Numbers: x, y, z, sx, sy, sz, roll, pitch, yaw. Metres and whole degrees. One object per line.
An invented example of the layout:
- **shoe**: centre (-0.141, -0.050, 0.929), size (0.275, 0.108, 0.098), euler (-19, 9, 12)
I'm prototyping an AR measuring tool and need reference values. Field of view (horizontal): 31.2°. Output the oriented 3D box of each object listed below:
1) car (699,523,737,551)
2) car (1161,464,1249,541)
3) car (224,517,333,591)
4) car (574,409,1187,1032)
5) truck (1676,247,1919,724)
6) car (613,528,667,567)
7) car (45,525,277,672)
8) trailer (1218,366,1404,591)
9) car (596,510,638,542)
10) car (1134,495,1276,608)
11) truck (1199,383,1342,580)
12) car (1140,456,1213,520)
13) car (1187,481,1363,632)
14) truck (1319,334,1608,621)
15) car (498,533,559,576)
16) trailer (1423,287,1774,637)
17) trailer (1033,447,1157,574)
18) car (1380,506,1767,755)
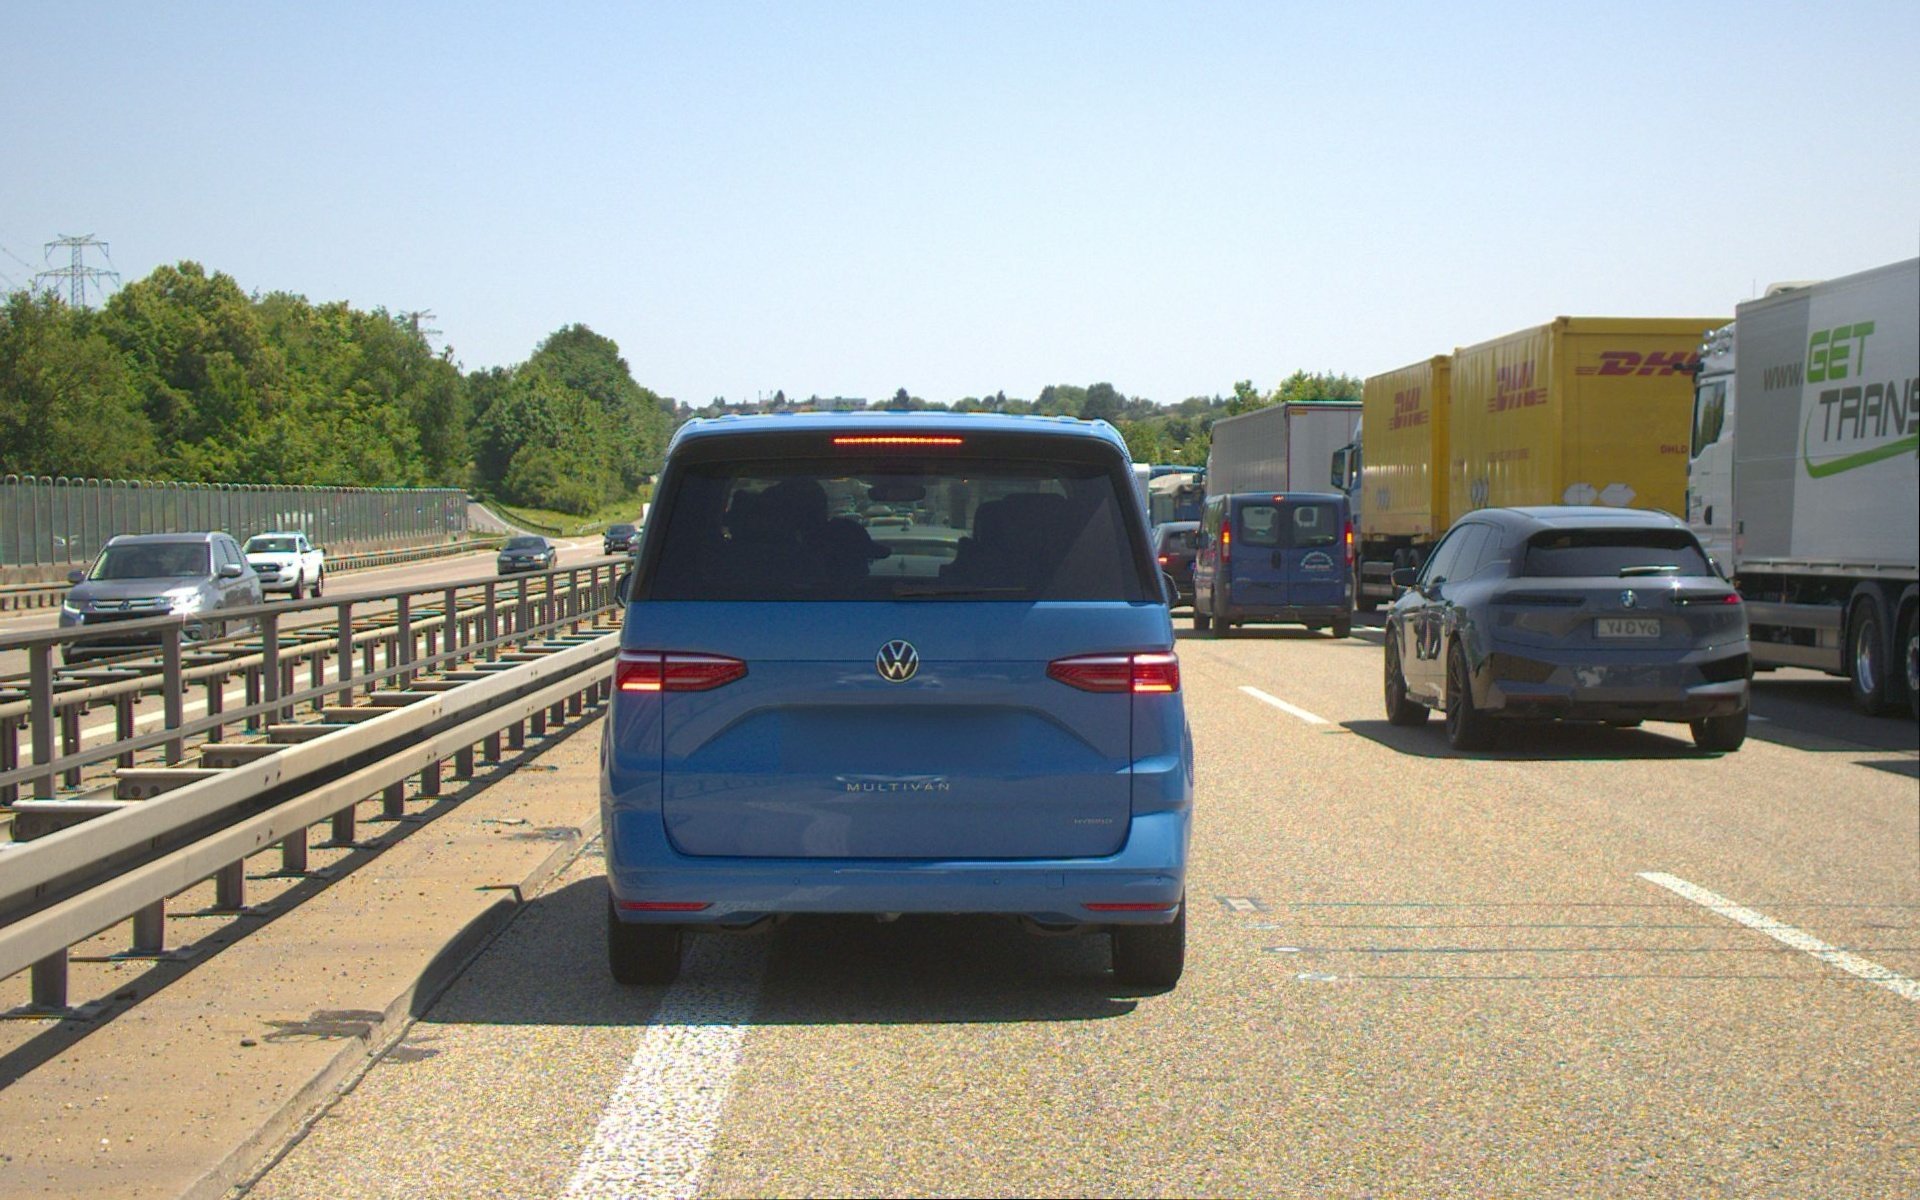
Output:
- **car**: centre (-13.282, -3.463, 188.862), size (1.791, 1.473, 3.989), euler (-1, 1, -1)
- **car**: centre (6.576, -2.603, 92.690), size (1.993, 2.007, 4.000), euler (1, 1, -1)
- **car**: centre (-18.491, -1.280, 93.479), size (1.993, 1.878, 5.257), euler (-2, 1, -1)
- **car**: centre (-0.267, 0.324, 12.366), size (1.820, 1.851, 4.075), euler (1, 1, -1)
- **truck**: centre (8.595, -0.938, 28.789), size (2.656, 3.635, 11.012), euler (0, 1, -1)
- **car**: centre (-11.568, -1.908, 124.343), size (1.597, 1.313, 4.342), euler (-2, 1, -1)
- **car**: centre (-9.632, -0.070, 41.793), size (1.805, 1.621, 4.478), euler (-2, 1, -1)
- **trailer**: centre (7.494, -2.582, 74.884), size (2.637, 4.501, 11.302), euler (1, 1, -1)
- **car**: centre (-17.056, -3.700, 171.111), size (1.729, 1.486, 4.420), euler (-2, 2, -1)
- **car**: centre (4.013, -0.821, 56.839), size (1.993, 1.809, 4.000), euler (0, 1, -1)
- **truck**: centre (7.349, -2.770, 82.140), size (2.667, 4.469, 6.850), euler (1, 1, -1)
- **car**: centre (6.917, -3.577, 110.327), size (1.993, 2.007, 4.461), euler (-1, 1, -1)
- **car**: centre (4.298, -0.627, 47.502), size (1.962, 1.986, 4.293), euler (0, 1, -1)
- **truck**: centre (8.049, -1.926, 56.523), size (2.836, 4.228, 11.012), euler (1, 1, -1)
- **car**: centre (-14.727, -1.564, 117.516), size (1.597, 1.345, 4.180), euler (-3, 1, -1)
- **trailer**: centre (8.401, -1.758, 46.446), size (2.864, 4.224, 9.012), euler (1, 1, -1)
- **trailer**: centre (3.327, -2.216, 87.052), size (2.569, 2.980, 10.663), euler (1, 1, -1)
- **car**: centre (4.308, 0.148, 24.824), size (1.962, 1.639, 4.293), euler (0, 1, -1)
